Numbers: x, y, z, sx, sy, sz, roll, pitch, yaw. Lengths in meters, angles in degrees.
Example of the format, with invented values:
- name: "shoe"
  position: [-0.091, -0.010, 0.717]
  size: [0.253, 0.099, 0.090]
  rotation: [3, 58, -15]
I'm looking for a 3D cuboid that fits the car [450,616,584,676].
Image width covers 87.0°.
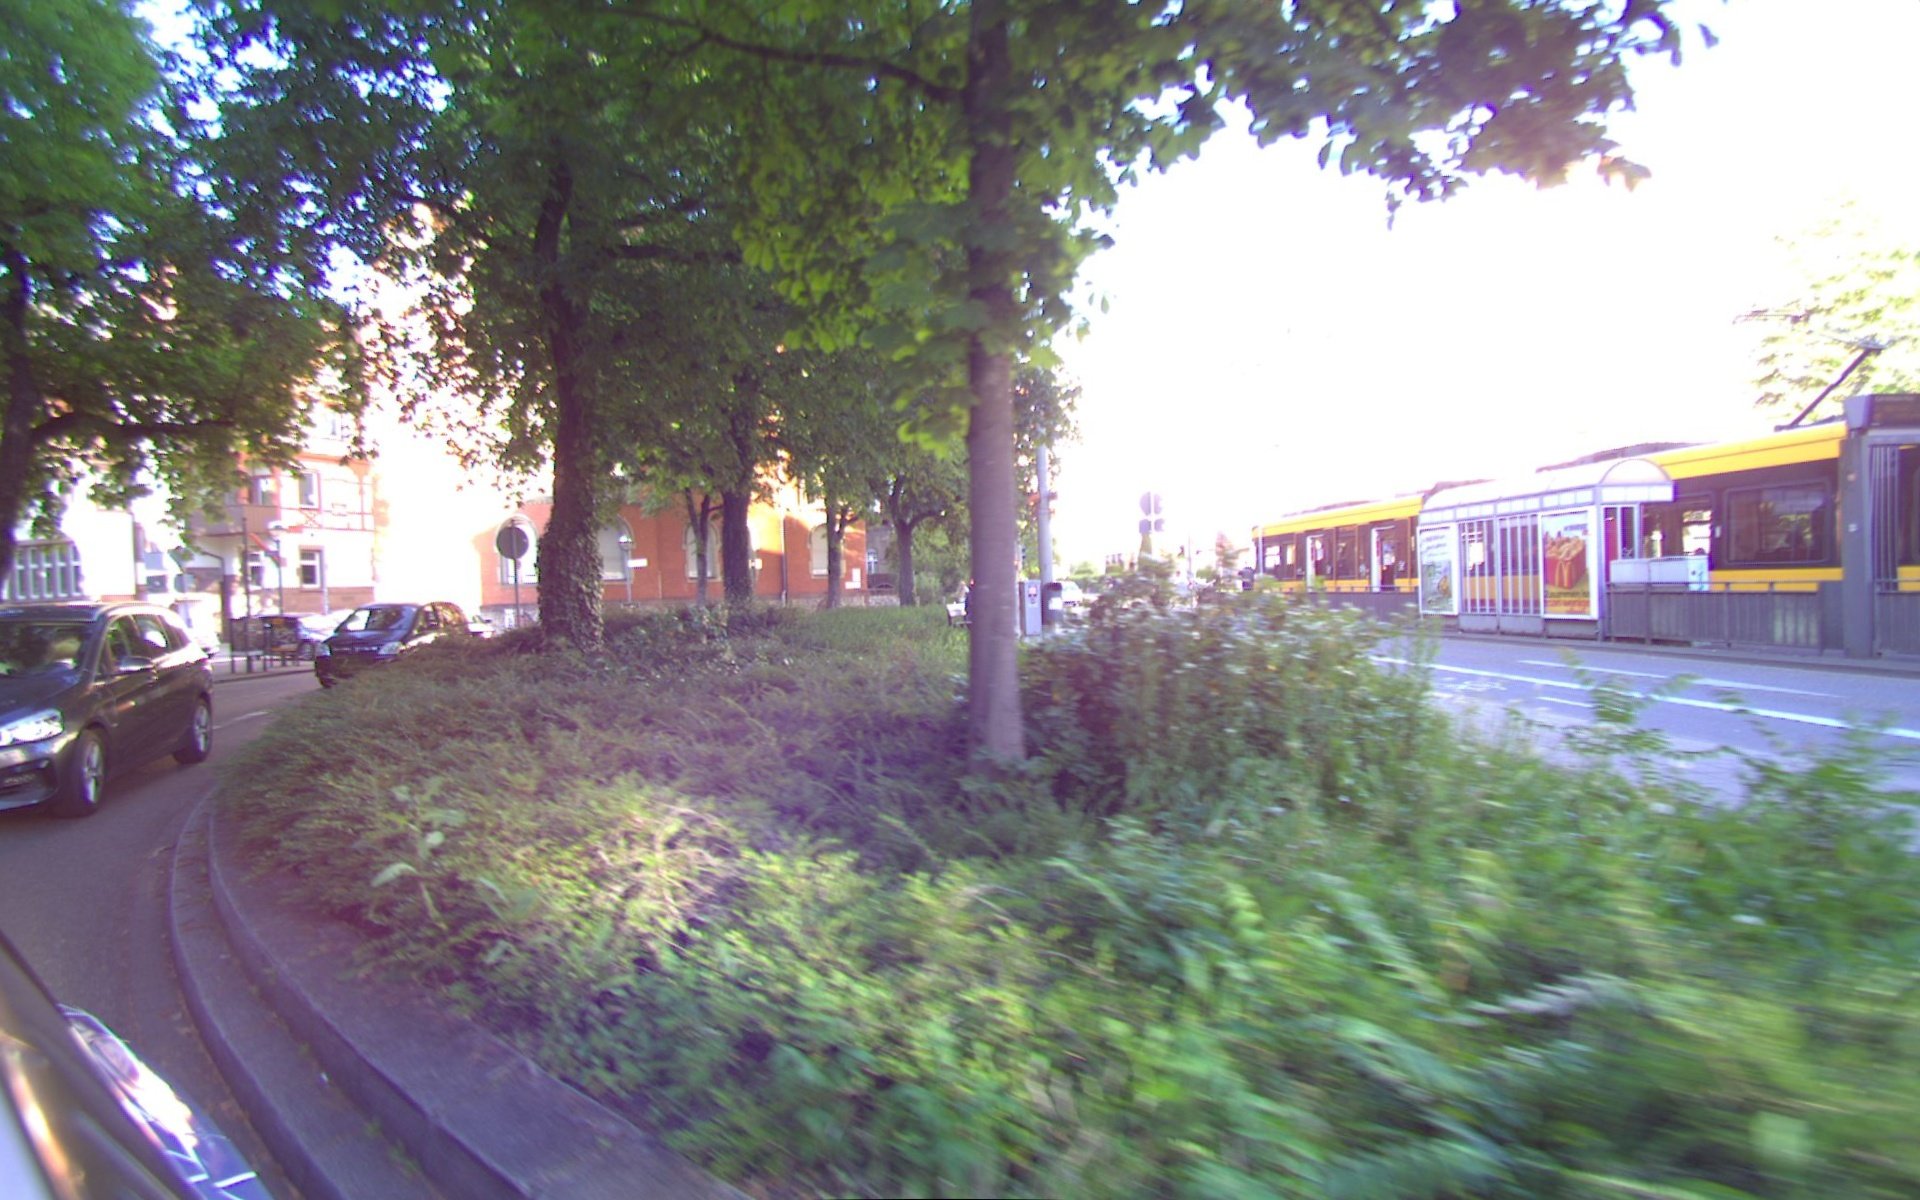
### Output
- name: "car"
  position: [-11.951, 1.208, 27.558]
  size: [1.661, 1.419, 3.679]
  rotation: [-1, 0, 8]

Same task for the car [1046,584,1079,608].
- name: "car"
  position: [6.320, -0.261, 62.767]
  size: [1.713, 1.427, 3.998]
  rotation: [-2, 1, 2]

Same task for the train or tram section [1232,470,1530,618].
- name: "train or tram section"
  position: [12.222, -1.449, 31.573]
  size: [2.731, 3.584, 12.699]
  rotation: [-3, 1, -6]

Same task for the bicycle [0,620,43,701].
- name: "bicycle"
  position: [-16.622, 1.032, 17.353]
  size: [0.755, 1.314, 1.909]
  rotation: [-2, 0, -25]

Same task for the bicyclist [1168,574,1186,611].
- name: "bicyclist"
  position: [9.468, -0.317, 44.226]
  size: [0.547, 1.585, 0.599]
  rotation: [-2, 0, -6]

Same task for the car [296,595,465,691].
- name: "car"
  position: [-11.249, 0.765, 19.927]
  size: [1.654, 1.640, 3.695]
  rotation: [-2, 0, -9]

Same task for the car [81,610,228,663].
- name: "car"
  position: [-27.256, 1.230, 34.264]
  size: [4.148, 1.564, 1.797]
  rotation: [-2, 0, 16]

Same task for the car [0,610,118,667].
- name: "car"
  position: [-26.295, 1.095, 28.471]
  size: [1.659, 1.436, 3.789]
  rotation: [-2, 1, 12]

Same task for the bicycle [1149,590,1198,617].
- name: "bicycle"
  position: [9.335, 0.155, 44.219]
  size: [1.951, 1.065, 0.639]
  rotation: [-2, 0, -6]

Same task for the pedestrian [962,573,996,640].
- name: "pedestrian"
  position: [0.424, 0.140, 22.922]
  size: [0.701, 1.454, 0.600]
  rotation: [-2, 1, 1]

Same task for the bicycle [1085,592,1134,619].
- name: "bicycle"
  position: [6.452, 0.235, 43.657]
  size: [1.951, 1.065, 0.639]
  rotation: [-2, 0, -7]

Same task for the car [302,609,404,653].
- name: "car"
  position: [-22.639, 1.154, 37.774]
  size: [3.186, 1.551, 1.485]
  rotation: [-2, 0, 15]

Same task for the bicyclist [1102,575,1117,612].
- name: "bicyclist"
  position: [6.456, -0.282, 43.647]
  size: [0.493, 1.585, 0.496]
  rotation: [-2, 0, -4]

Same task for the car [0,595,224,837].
- name: "car"
  position: [-7.769, 0.797, 8.378]
  size: [1.763, 1.590, 4.275]
  rotation: [-2, 0, -23]

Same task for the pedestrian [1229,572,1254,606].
- name: "pedestrian"
  position: [14.513, -0.582, 52.157]
  size: [0.890, 1.647, 0.727]
  rotation: [-5, 1, -37]

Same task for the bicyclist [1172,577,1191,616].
- name: "bicyclist"
  position: [9.145, -0.147, 41.793]
  size: [0.589, 1.585, 0.556]
  rotation: [-2, 0, -3]

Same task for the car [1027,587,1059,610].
- name: "car"
  position: [5.777, -0.128, 70.702]
  size: [1.711, 1.427, 4.003]
  rotation: [-3, 2, -2]

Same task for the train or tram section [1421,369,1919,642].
- name: "train or tram section"
  position: [13.507, -1.347, 19.055]
  size: [2.744, 3.614, 12.437]
  rotation: [-3, 1, -6]

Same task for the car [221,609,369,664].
- name: "car"
  position: [-21.073, 1.147, 32.101]
  size: [4.015, 1.564, 1.688]
  rotation: [-2, 0, 16]
